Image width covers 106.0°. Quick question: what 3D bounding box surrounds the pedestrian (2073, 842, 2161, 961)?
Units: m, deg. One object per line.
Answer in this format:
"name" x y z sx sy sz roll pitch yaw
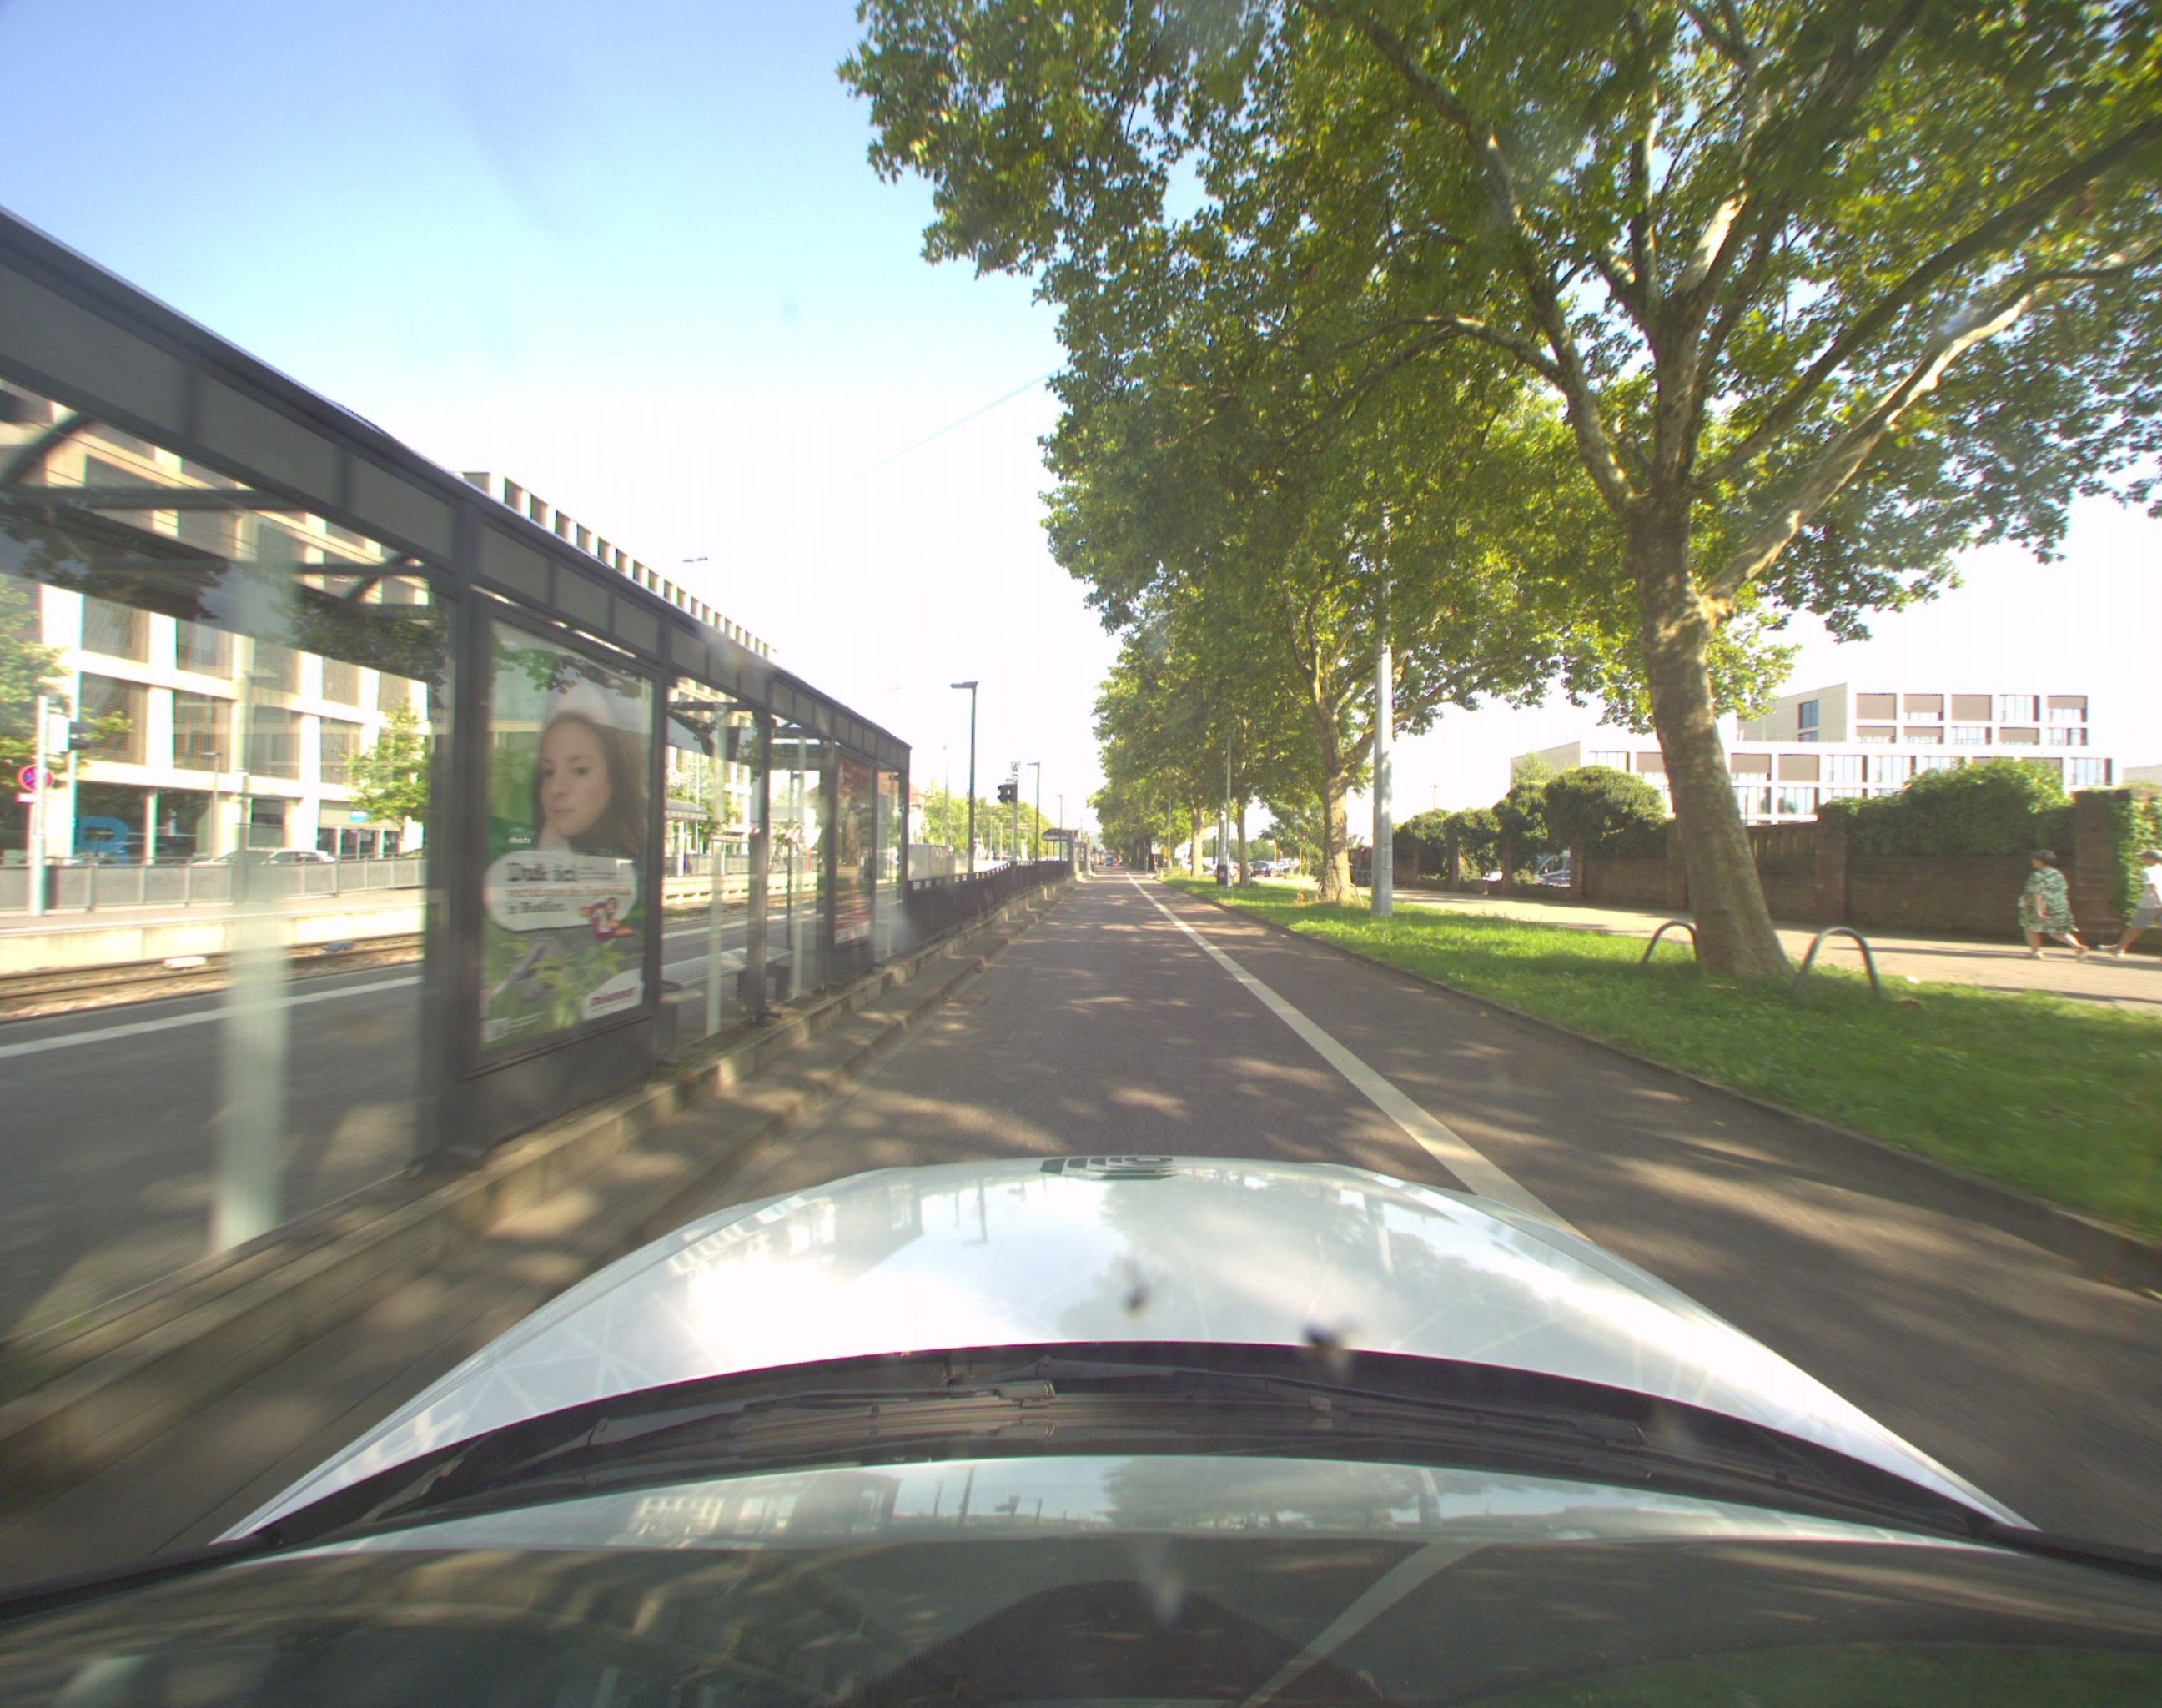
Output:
"pedestrian" 15.025 0.643 11.524 0.803 1.604 0.947 -1 -1 2

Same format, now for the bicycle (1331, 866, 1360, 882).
"bicycle" 16.220 1.239 49.941 1.649 0.969 0.507 -1 -1 4

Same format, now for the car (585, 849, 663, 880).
"car" -23.937 0.545 42.833 1.636 1.550 4.224 1 0 2

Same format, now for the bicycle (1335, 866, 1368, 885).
"bicycle" 15.079 1.197 45.391 1.647 0.969 0.507 -1 -1 7

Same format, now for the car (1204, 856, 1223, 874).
"car" 16.140 1.318 99.442 1.715 2.048 4.464 1 -1 2

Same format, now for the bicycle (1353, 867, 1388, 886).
"bicycle" 15.132 1.172 42.562 1.647 0.969 0.507 -1 -1 7

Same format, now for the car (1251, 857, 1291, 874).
"car" 19.966 1.218 85.386 4.266 1.679 1.709 1 -1 -35

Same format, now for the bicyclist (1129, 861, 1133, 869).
"bicyclist" 8.970 1.946 145.286 0.703 1.461 1.009 2 -1 2

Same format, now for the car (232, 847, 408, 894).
"car" -24.516 0.503 26.485 1.636 1.377 4.224 1 0 2

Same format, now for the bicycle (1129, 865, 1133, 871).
"bicycle" 8.949 2.480 145.125 0.712 1.107 2.510 2 -1 2

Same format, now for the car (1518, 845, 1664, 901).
"car" 22.448 0.816 36.009 5.107 2.368 2.133 0 0 5

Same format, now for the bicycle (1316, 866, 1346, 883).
"bicycle" 14.754 1.220 48.072 0.509 0.969 1.642 0 -1 -40

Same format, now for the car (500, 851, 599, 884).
"car" -24.190 0.596 37.267 1.636 1.377 4.224 1 0 2

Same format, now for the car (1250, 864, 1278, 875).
"car" 25.968 2.203 115.834 3.753 1.446 1.530 2 -1 8

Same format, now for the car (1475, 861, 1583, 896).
"car" 23.070 1.239 42.071 4.499 1.675 1.980 0 0 5

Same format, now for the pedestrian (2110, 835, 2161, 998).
"pedestrian" 11.241 0.625 8.089 0.803 1.636 0.947 -1 -1 2

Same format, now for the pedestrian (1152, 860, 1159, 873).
"pedestrian" 9.382 1.614 102.567 0.619 1.617 0.850 0 -1 39

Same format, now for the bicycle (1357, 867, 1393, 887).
"bicycle" 15.106 1.174 41.820 1.649 0.969 0.506 -1 -1 3

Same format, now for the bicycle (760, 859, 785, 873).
"bicycle" -15.668 0.613 41.395 0.474 0.662 1.616 1 0 6

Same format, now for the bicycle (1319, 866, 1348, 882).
"bicycle" 15.104 1.202 48.728 0.509 0.969 1.642 0 -1 -40

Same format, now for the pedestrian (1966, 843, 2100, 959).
"pedestrian" 13.712 0.655 11.768 0.803 1.604 0.947 -1 -1 2
